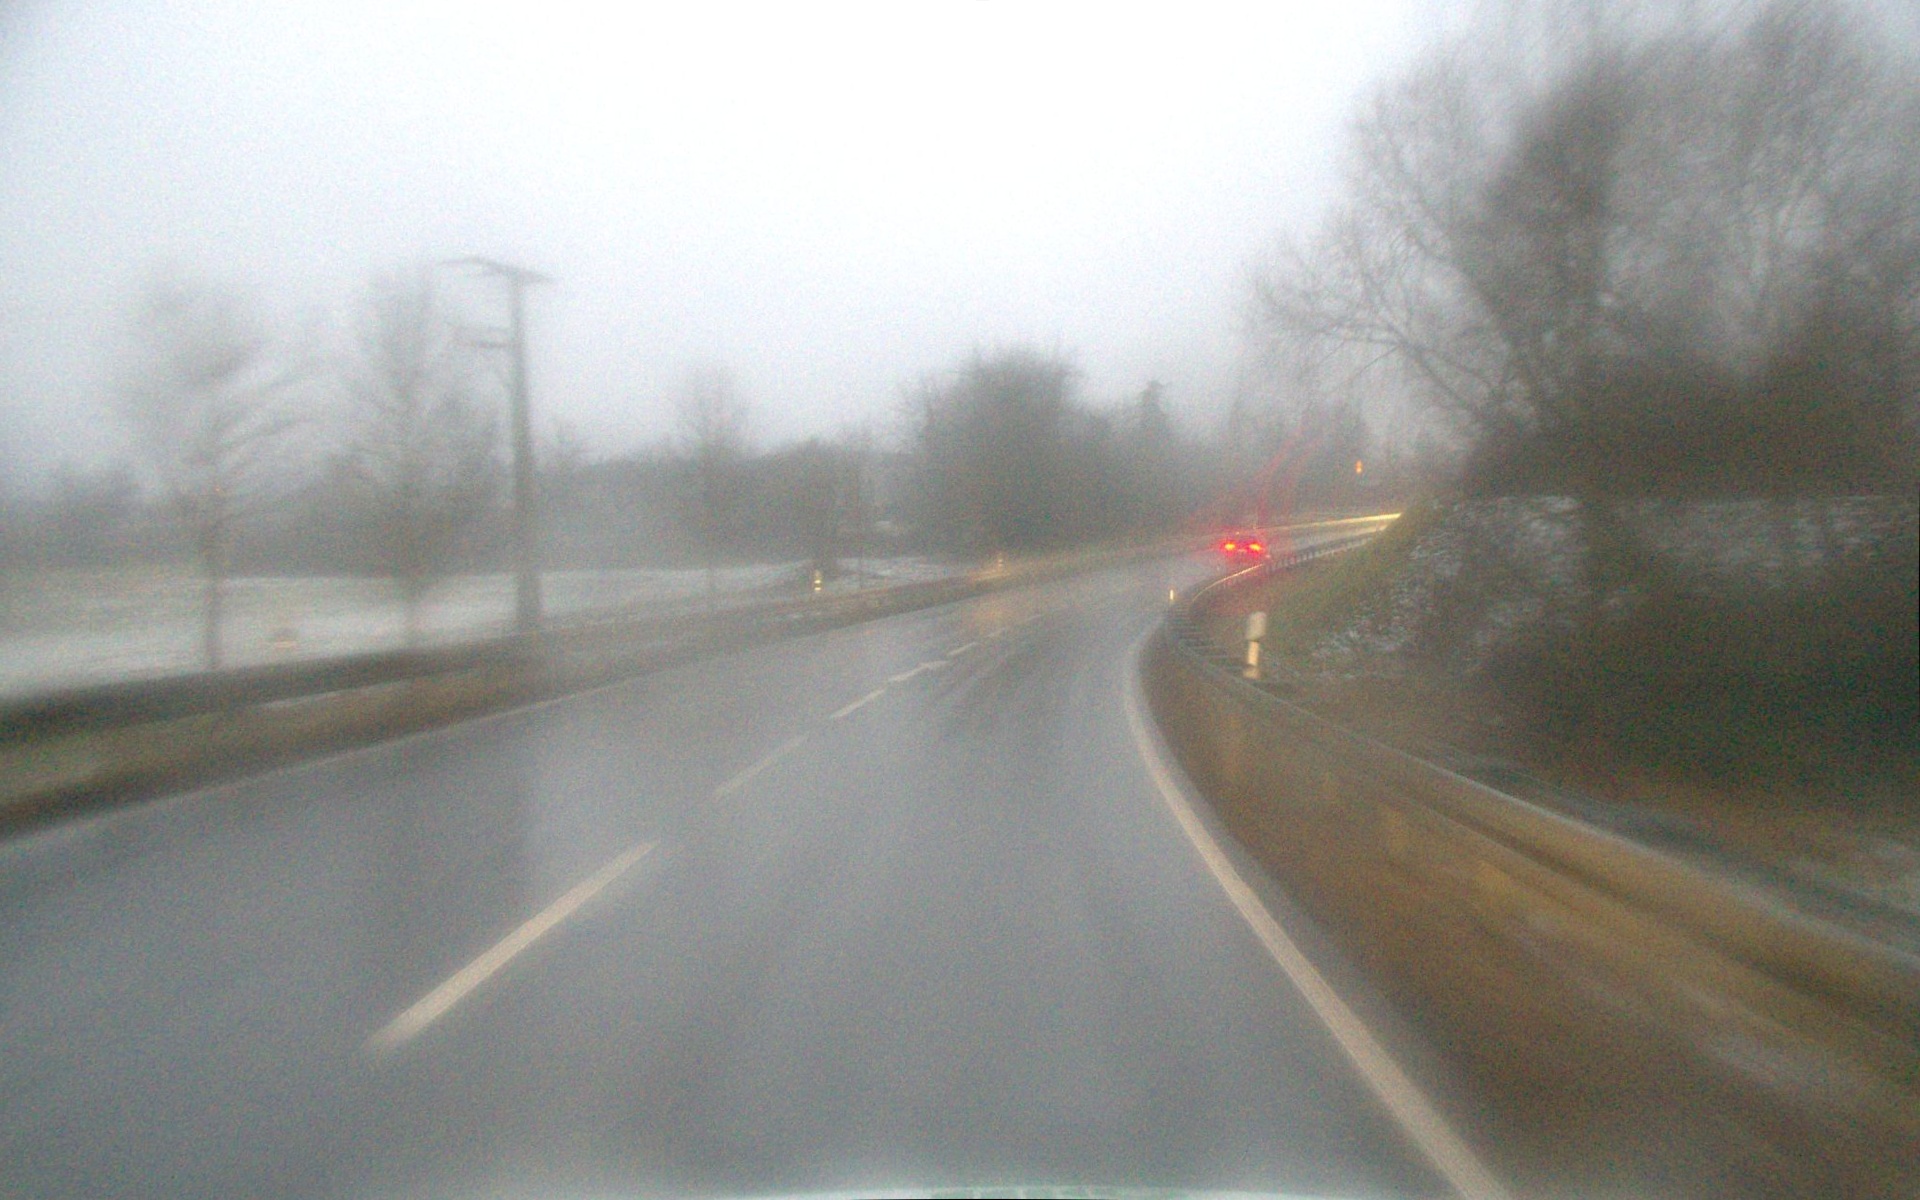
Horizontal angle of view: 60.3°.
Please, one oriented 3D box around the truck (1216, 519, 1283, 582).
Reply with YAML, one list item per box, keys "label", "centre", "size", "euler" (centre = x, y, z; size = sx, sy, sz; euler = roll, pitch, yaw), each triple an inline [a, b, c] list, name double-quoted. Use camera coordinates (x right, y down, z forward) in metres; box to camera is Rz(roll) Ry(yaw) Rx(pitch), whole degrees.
- label: "truck"
  centre: [14.726, -2.569, 83.819]
  size: [2.478, 2.918, 5.928]
  euler: [-1, 4, 18]
